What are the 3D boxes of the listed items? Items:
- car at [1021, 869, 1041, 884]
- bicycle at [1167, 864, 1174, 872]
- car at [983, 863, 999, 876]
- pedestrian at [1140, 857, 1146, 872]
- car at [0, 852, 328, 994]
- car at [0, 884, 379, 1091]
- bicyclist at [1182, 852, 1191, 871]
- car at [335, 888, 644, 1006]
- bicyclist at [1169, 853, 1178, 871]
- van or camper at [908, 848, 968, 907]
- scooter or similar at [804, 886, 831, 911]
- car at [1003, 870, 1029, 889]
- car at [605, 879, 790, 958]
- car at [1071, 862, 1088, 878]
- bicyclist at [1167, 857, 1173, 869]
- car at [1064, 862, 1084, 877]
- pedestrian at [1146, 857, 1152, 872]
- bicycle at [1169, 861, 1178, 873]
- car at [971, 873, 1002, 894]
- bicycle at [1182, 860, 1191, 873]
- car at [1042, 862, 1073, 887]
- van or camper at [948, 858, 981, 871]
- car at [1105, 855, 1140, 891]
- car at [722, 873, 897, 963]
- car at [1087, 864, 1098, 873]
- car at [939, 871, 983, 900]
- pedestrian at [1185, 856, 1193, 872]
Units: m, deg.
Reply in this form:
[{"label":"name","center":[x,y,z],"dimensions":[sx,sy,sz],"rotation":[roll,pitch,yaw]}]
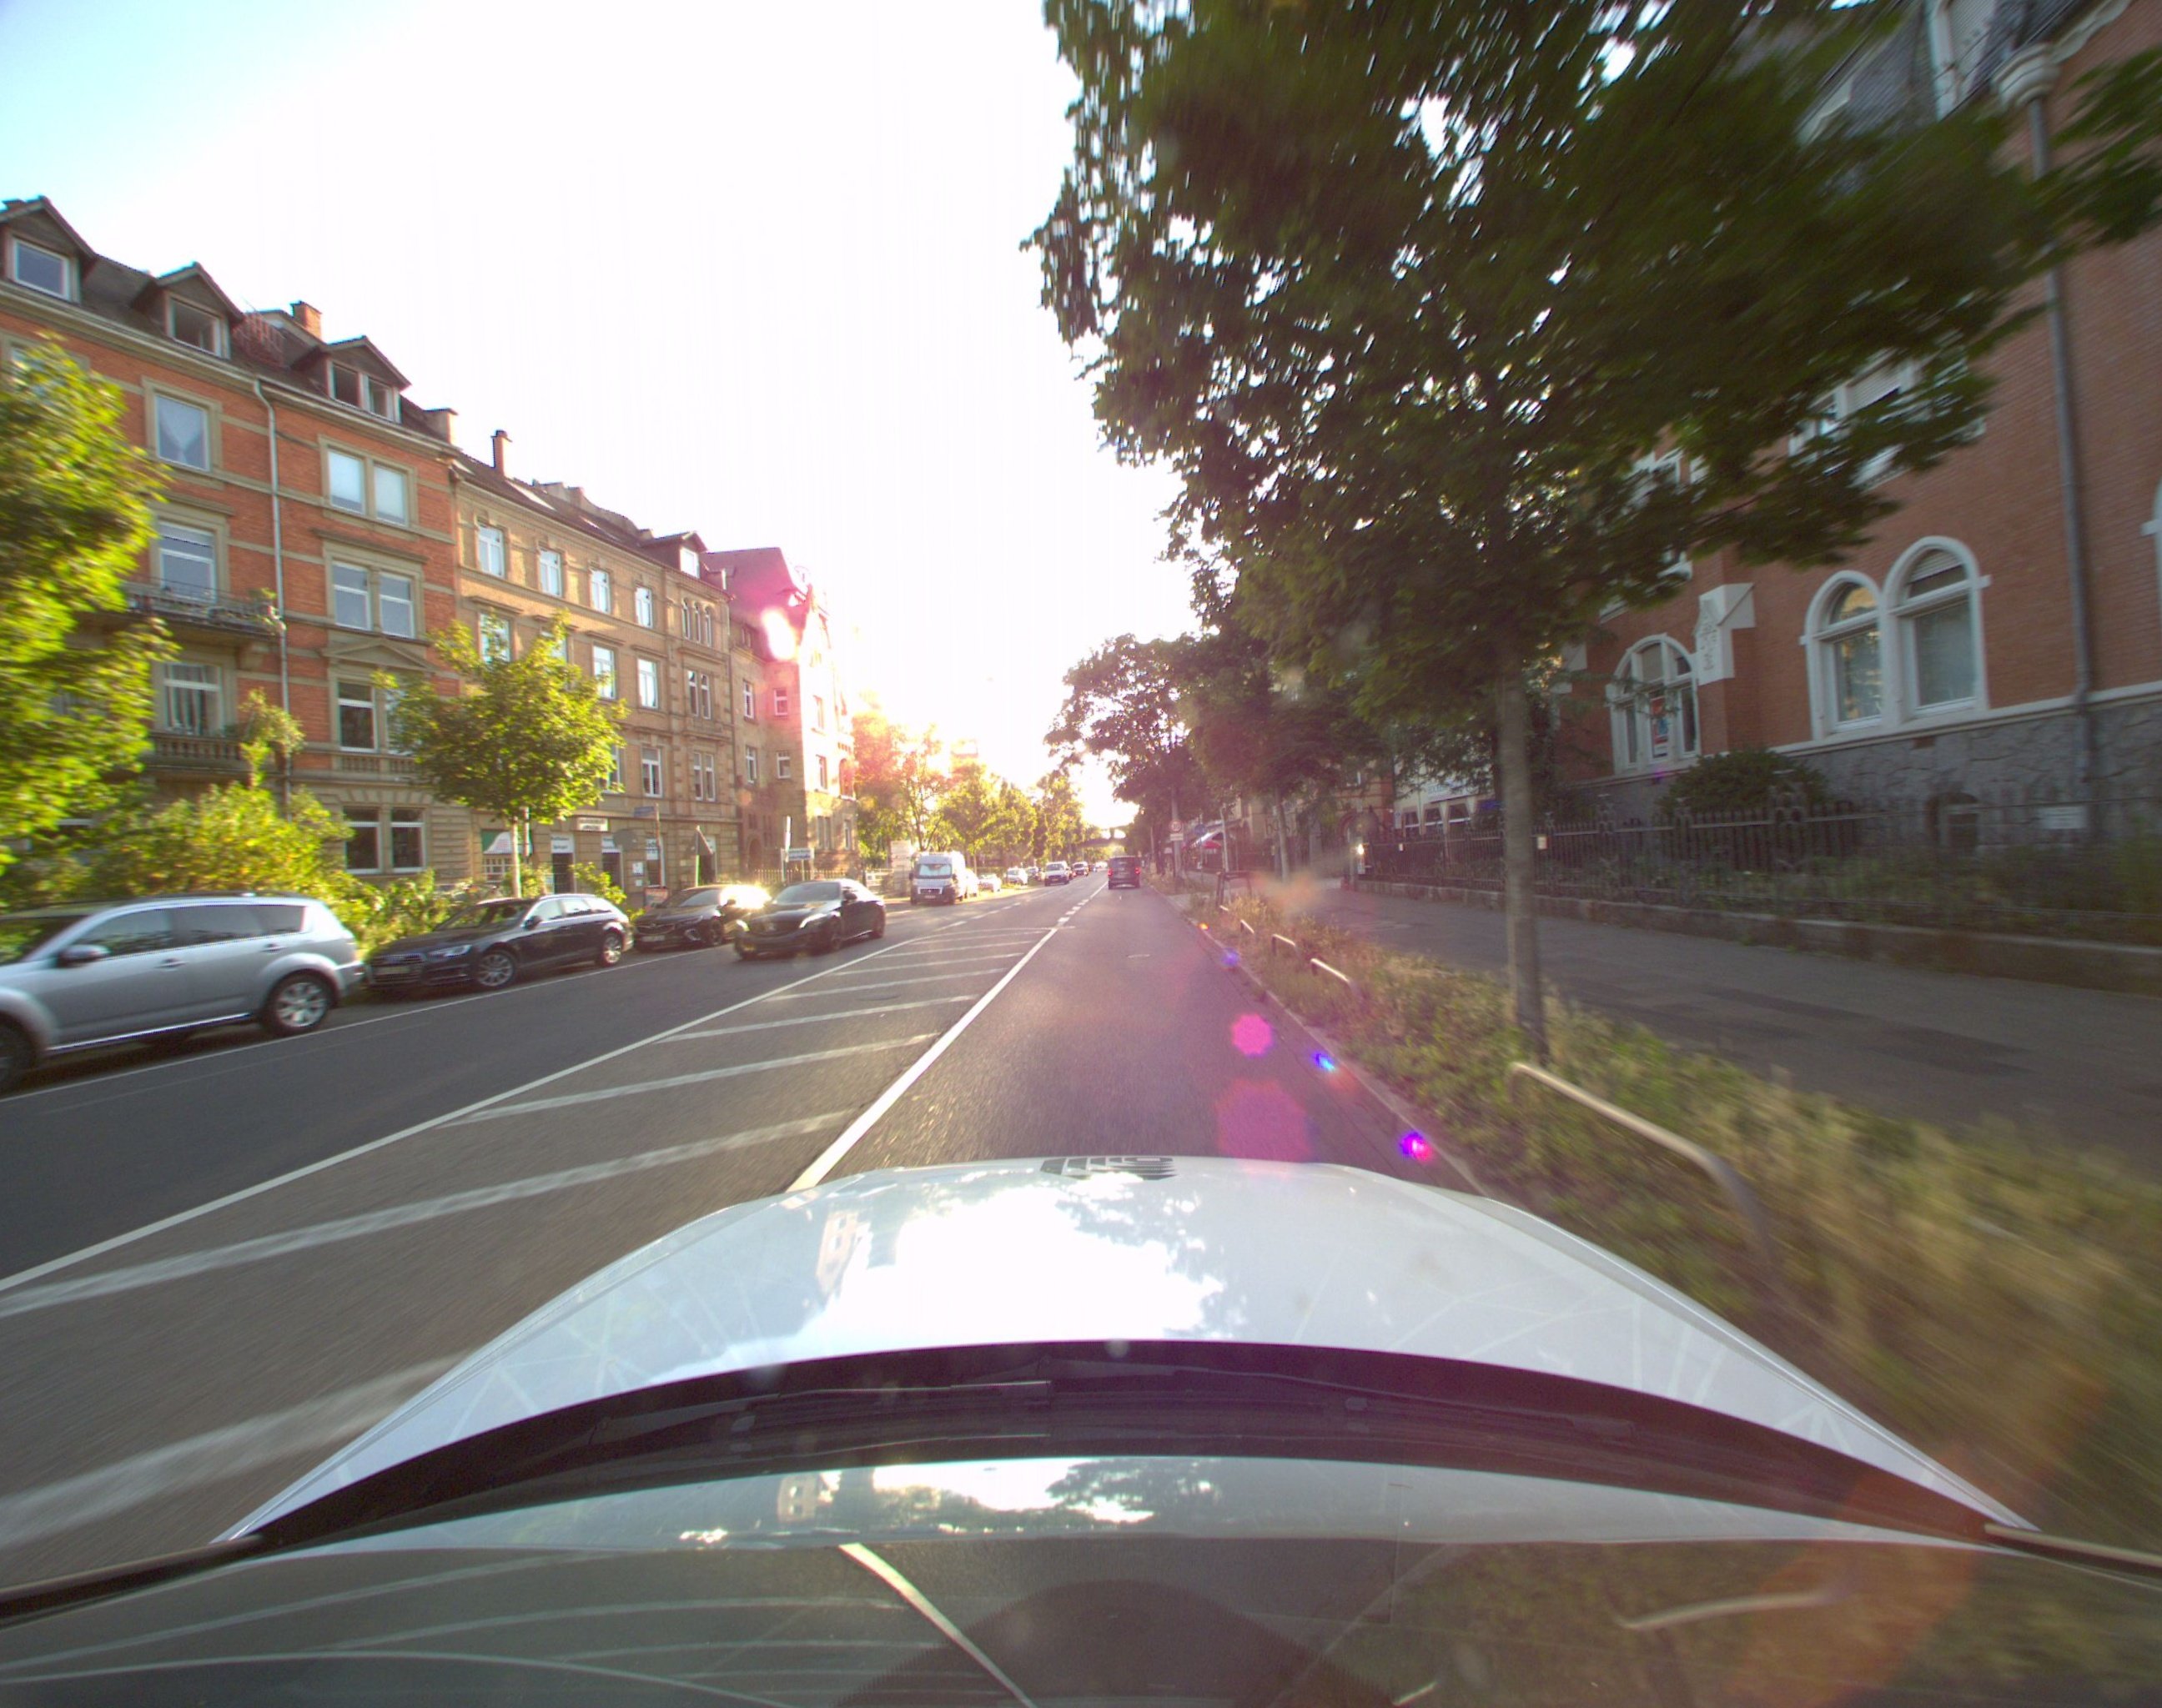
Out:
[{"label":"car","center":[-5.038,2.285,82.519],"dimensions":[1.632,1.385,4.002],"rotation":[-2,-1,2]},{"label":"bicycle","center":[9.624,1.493,87.705],"dimensions":[0.577,0.897,1.989],"rotation":[-2,-1,3]},{"label":"car","center":[-17.085,2.944,154.472],"dimensions":[1.985,2.308,5.249],"rotation":[-2,-1,3]},{"label":"pedestrian","center":[7.875,1.392,103.715],"dimensions":[0.505,1.889,0.543],"rotation":[-2,-1,-12]},{"label":"car","center":[-21.750,1.471,19.199],"dimensions":[2.100,2.739,5.343],"rotation":[-5,-1,28]},{"label":"car","center":[-10.004,1.257,8.095],"dimensions":[1.858,1.645,4.574],"rotation":[-5,-1,2]},{"label":"bicyclist","center":[8.683,0.643,67.133],"dimensions":[0.593,1.532,0.894],"rotation":[-2,-1,3]},{"label":"car","center":[-9.814,1.443,14.096],"dimensions":[1.729,1.445,4.628],"rotation":[-4,-1,3]},{"label":"bicyclist","center":[7.735,0.670,68.214],"dimensions":[0.593,1.532,0.894],"rotation":[-2,-1,3]},{"label":"van or camper","center":[-7.070,1.140,40.851],"dimensions":[1.988,2.669,6.035],"rotation":[-2,-1,-1]},{"label":"scooter or similar","center":[-12.126,2.040,37.487],"dimensions":[1.124,1.057,0.285],"rotation":[-4,-1,-45]},{"label":"car","center":[-5.561,2.146,69.949],"dimensions":[1.690,1.451,4.002],"rotation":[-2,-1,2]},{"label":"car","center":[-9.181,1.473,20.058],"dimensions":[1.985,1.483,4.832],"rotation":[-4,-1,3]},{"label":"car","center":[-0.148,2.054,103.798],"dimensions":[1.826,1.852,4.476],"rotation":[-5,-1,2]},{"label":"bicyclist","center":[9.615,0.998,87.780],"dimensions":[0.583,1.236,1.113],"rotation":[-2,-1,3]},{"label":"car","center":[-0.703,1.588,85.494],"dimensions":[1.752,1.386,4.308],"rotation":[-5,-1,3]},{"label":"pedestrian","center":[8.614,1.377,103.392],"dimensions":[0.505,1.889,0.543],"rotation":[-2,-1,-12]},{"label":"bicycle","center":[7.731,1.078,68.193],"dimensions":[0.542,1.040,2.090],"rotation":[-2,-1,3]},{"label":"car","center":[-6.359,1.995,55.083],"dimensions":[1.530,1.248,3.615],"rotation":[-2,-1,2]},{"label":"bicycle","center":[8.699,1.034,67.122],"dimensions":[0.515,1.040,2.090],"rotation":[-2,-1,3]},{"label":"car","center":[-1.952,1.708,68.880],"dimensions":[1.985,1.831,5.174],"rotation":[-5,-1,4]},{"label":"van or camper","center":[-24.728,2.300,172.524],"dimensions":[6.539,2.522,2.450],"rotation":[-2,-1,1]},{"label":"car","center":[2.548,1.102,48.871],"dimensions":[1.879,1.925,3.843],"rotation":[-4,-1,4]},{"label":"car","center":[-5.367,1.202,16.813],"dimensions":[1.759,1.402,4.548],"rotation":[-4,-1,3]},{"label":"car","center":[2.060,2.581,147.514],"dimensions":[1.672,1.530,4.003],"rotation":[-6,-1,3]},{"label":"car","center":[-7.024,1.820,47.936],"dimensions":[1.739,1.535,4.304],"rotation":[-2,-1,2]},{"label":"pedestrian","center":[10.989,1.008,82.928],"dimensions":[0.642,1.633,0.656],"rotation":[-2,-1,3]}]
